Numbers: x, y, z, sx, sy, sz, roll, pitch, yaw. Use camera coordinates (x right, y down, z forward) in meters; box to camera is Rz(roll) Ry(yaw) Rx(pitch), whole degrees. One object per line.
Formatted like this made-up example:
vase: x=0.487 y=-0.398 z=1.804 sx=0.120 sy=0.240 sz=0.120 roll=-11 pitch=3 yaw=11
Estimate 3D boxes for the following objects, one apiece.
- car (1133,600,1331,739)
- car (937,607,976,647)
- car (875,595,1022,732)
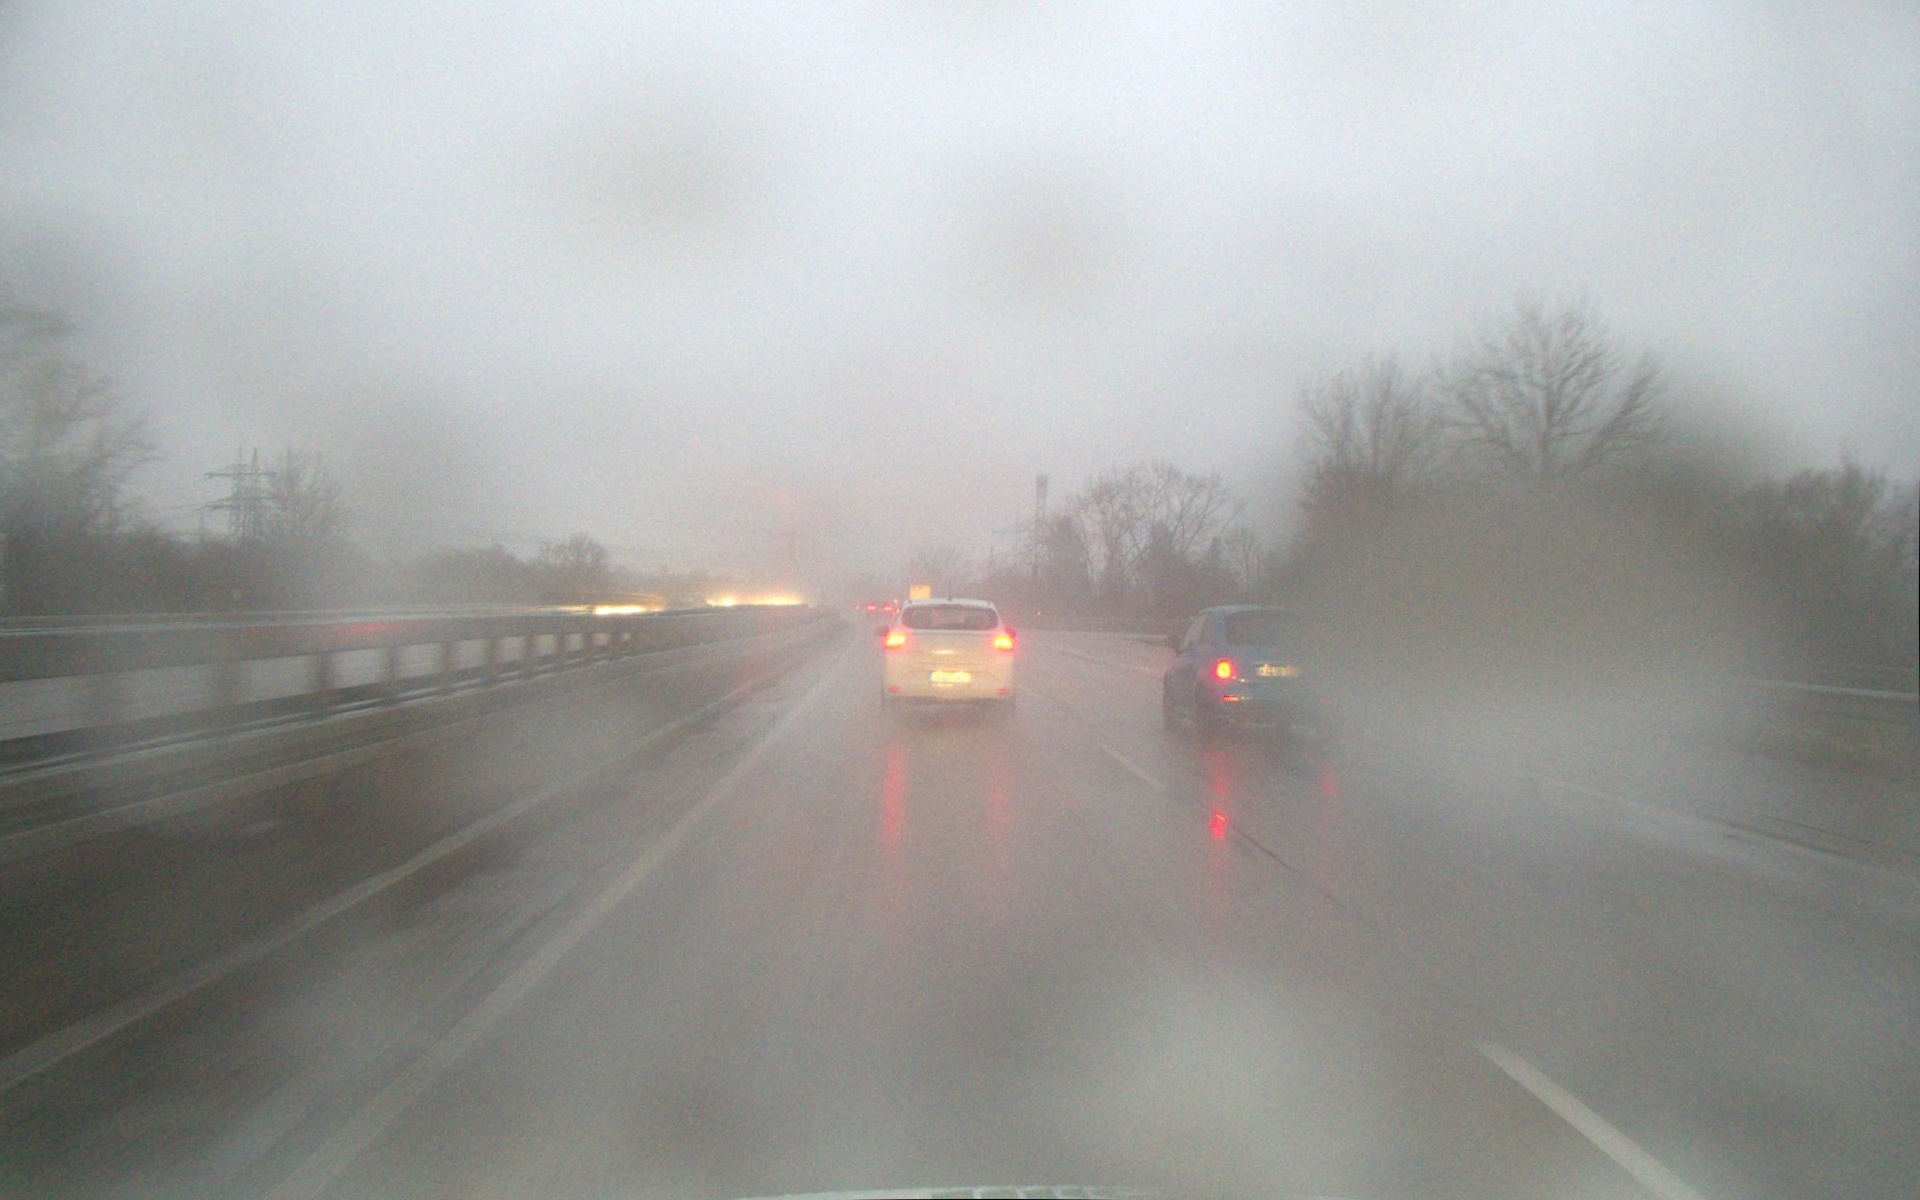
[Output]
car: x=3.223 y=0.764 z=20.360 sx=1.807 sy=1.479 sz=4.149 roll=1 pitch=0 yaw=1
car: x=-0.149 y=1.465 z=89.412 sx=1.836 sy=1.936 sz=4.000 roll=6 pitch=-1 yaw=1
car: x=-0.198 y=0.789 z=22.456 sx=1.808 sy=1.664 sz=3.766 roll=1 pitch=0 yaw=-2
